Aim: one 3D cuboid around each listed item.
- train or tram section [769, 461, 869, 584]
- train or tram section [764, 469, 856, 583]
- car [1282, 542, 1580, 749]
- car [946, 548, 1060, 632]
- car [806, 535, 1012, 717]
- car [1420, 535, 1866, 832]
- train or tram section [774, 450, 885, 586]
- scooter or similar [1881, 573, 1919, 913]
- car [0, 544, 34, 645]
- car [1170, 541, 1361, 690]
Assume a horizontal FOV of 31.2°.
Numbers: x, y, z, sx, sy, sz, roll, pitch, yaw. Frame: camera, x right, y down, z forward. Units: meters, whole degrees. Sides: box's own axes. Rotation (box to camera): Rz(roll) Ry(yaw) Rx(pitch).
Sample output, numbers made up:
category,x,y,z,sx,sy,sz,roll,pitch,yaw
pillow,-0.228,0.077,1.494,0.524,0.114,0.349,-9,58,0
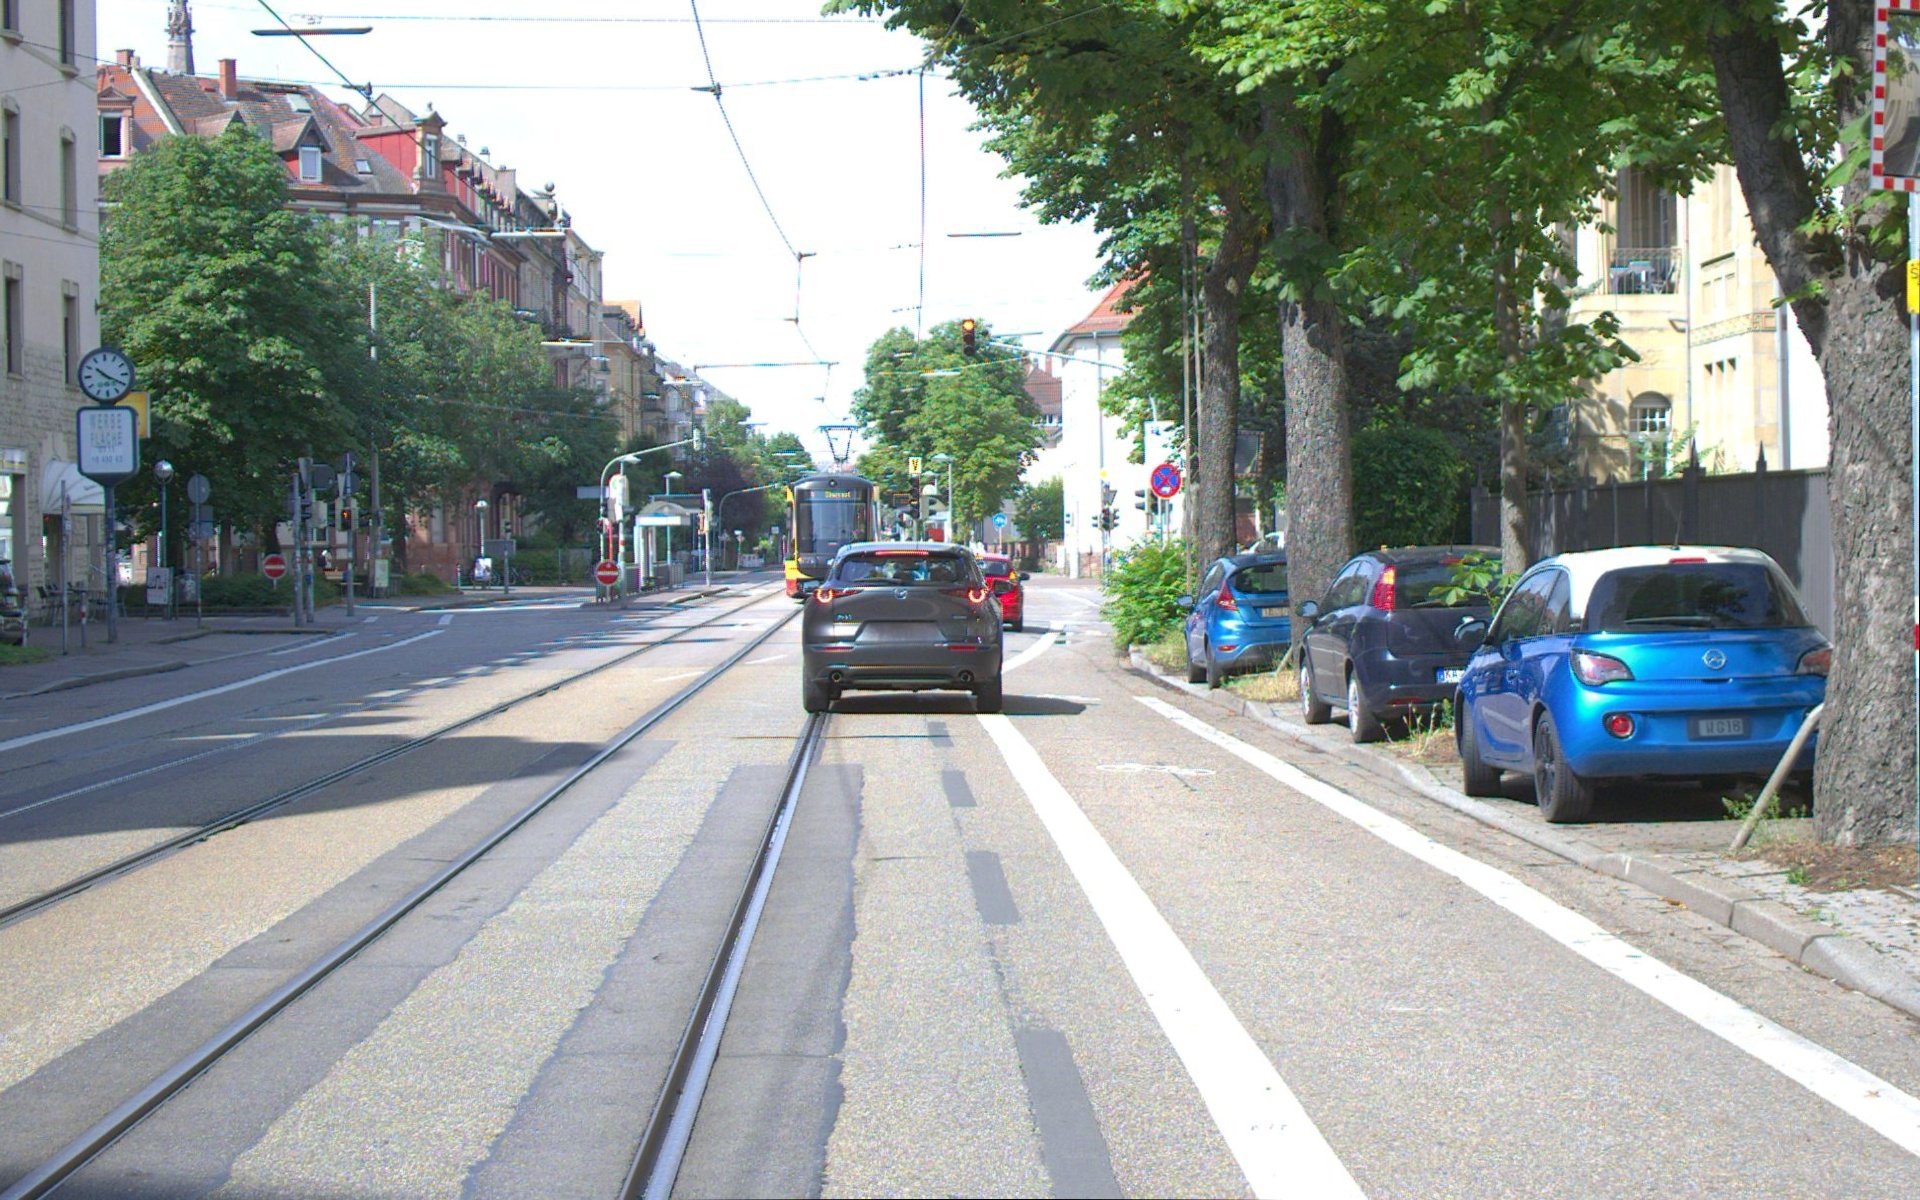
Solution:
category,x,y,z,sx,sy,sz,roll,pitch,yaw
train or tram section,-4.331,-2.285,103.980,2.651,3.515,8.498,-2,1,-4
train or tram section,-4.963,-2.364,112.512,2.651,3.515,8.498,-2,1,-4
car,3.723,0.308,27.752,1.639,1.491,3.758,-2,1,-3
car,0.789,-0.225,65.850,1.784,1.487,4.884,-1,1,-4
car,-0.532,0.184,32.125,1.789,1.507,4.351,0,2,-2
car,3.830,0.405,19.849,1.639,1.491,3.627,-2,1,-3
train or tram section,-3.690,-2.213,95.441,2.651,3.515,8.498,-2,1,-4
scooter or similar,4.093,0.546,12.911,0.441,1.295,1.182,-5,3,-32
car,-15.904,-0.118,52.136,3.236,1.508,1.679,1,1,2
car,3.346,0.129,38.207,1.624,1.491,3.848,-3,1,-1
